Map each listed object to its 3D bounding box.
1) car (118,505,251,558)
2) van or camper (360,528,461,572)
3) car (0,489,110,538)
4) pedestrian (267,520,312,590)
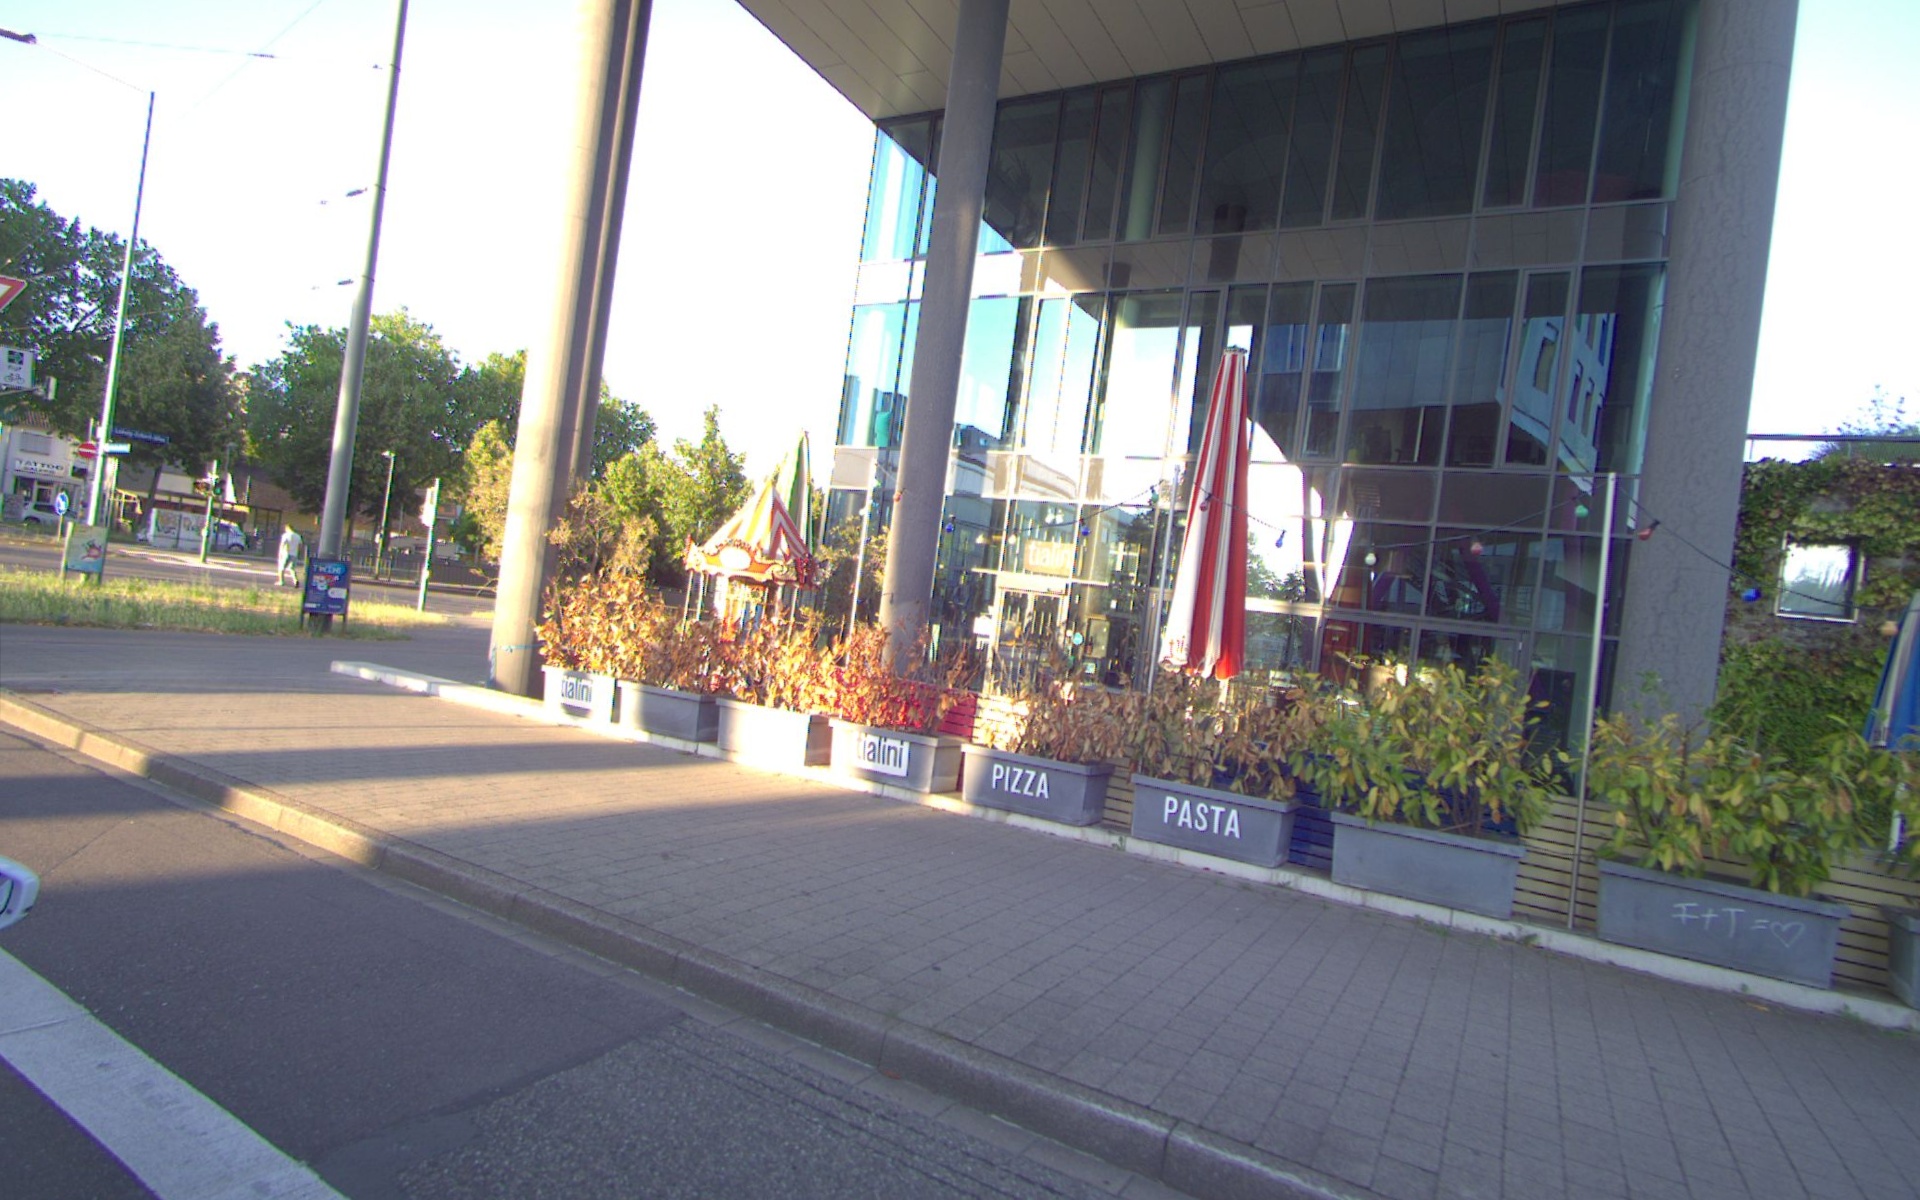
[{"bbox_3d":[-36.985,-3.241,48.102,1.829,1.748,4.546,7,-2,27],"label":"car"},{"bbox_3d":[-43.659,-3.955,80.131,2.229,2.438,6.569,6,-2,36],"label":"van or camper"},{"bbox_3d":[-50.197,-4.771,55.754,1.968,1.868,4.235,7,-2,34],"label":"car"},{"bbox_3d":[-18.718,-1.249,28.112,0.755,1.811,0.796,8,-1,-28],"label":"pedestrian"}]
